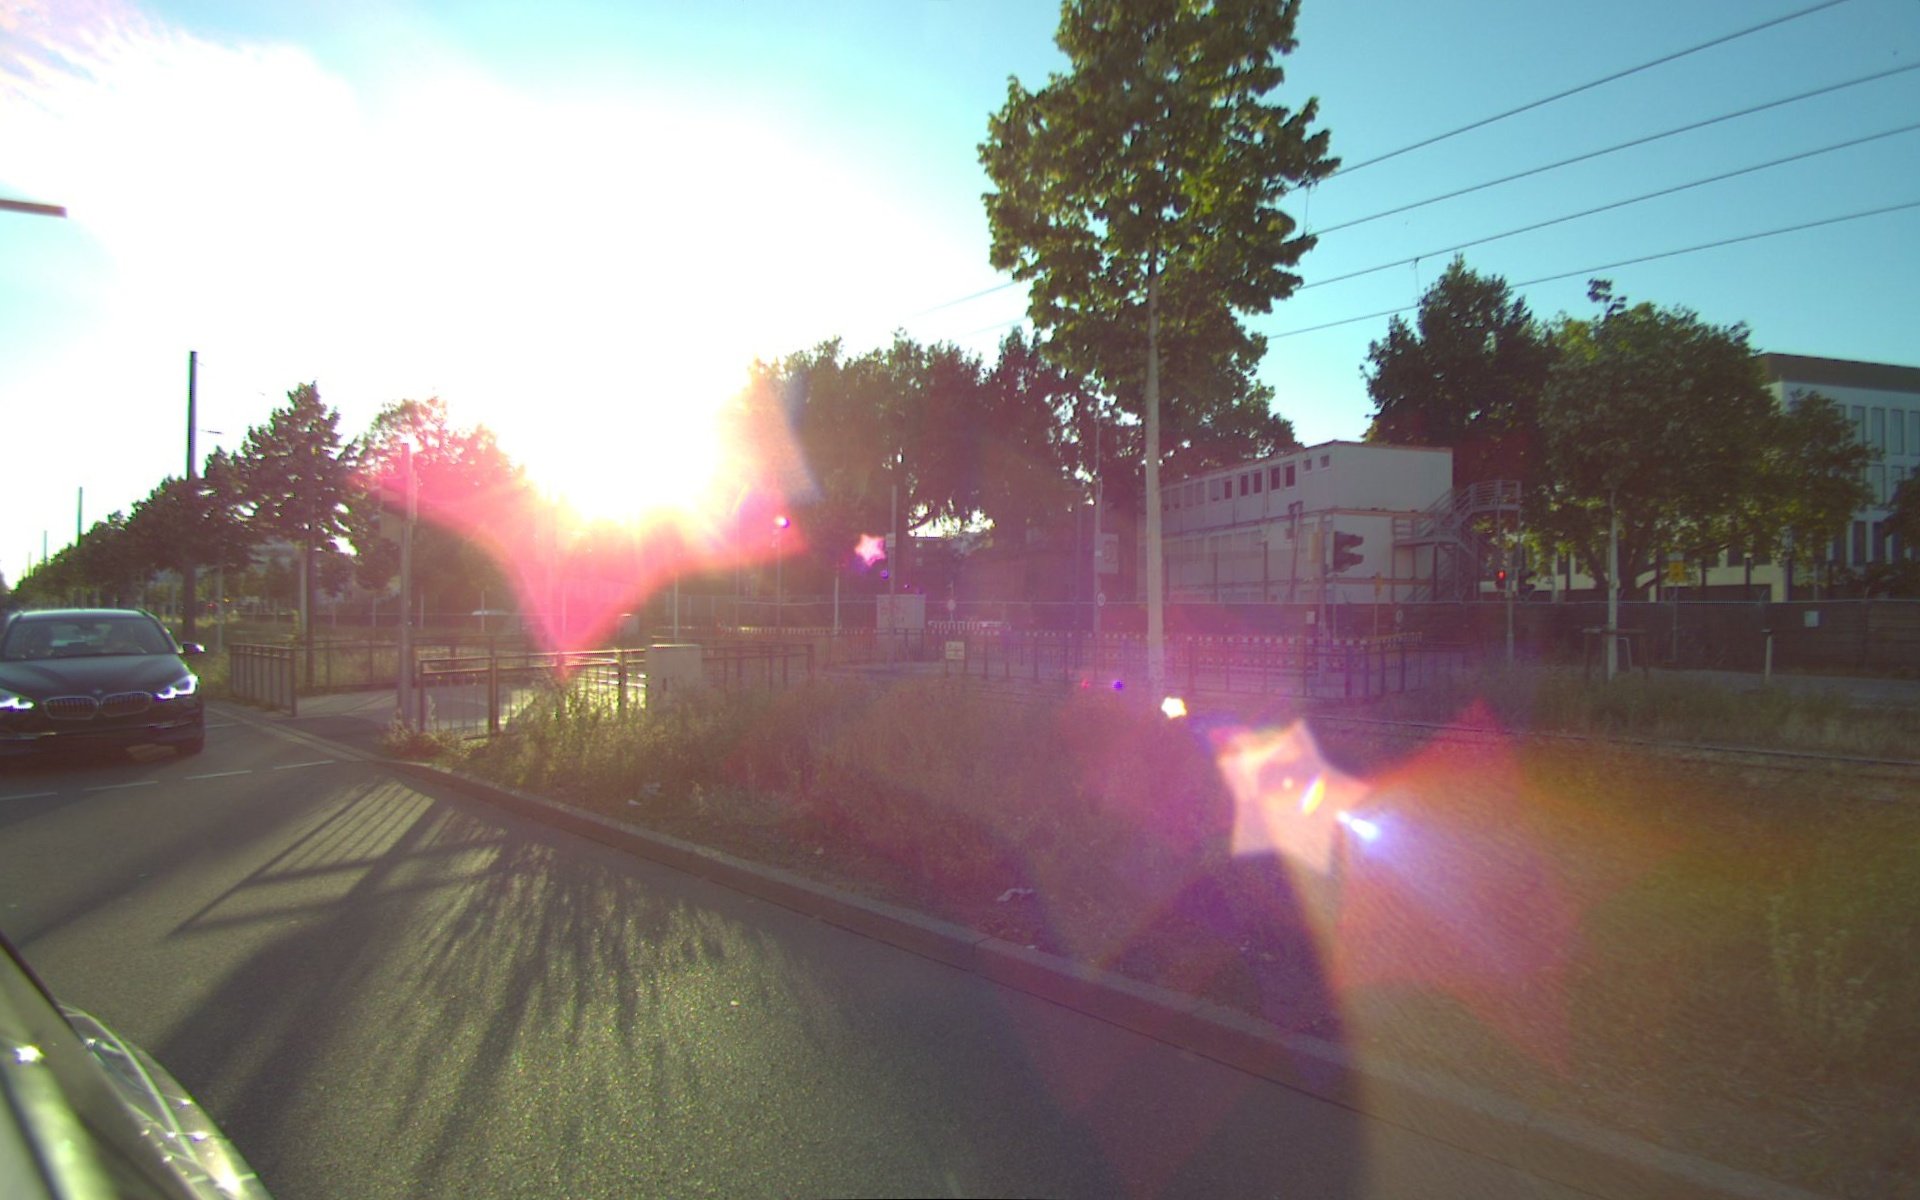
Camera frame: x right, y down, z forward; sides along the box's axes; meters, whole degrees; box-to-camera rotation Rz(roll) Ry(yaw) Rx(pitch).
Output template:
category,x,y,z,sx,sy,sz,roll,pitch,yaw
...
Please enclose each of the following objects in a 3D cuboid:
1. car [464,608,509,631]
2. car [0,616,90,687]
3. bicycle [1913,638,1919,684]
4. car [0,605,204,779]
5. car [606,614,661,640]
category,x,y,z,sx,sy,sz,roll,pitch,yaw
car,-35.421,1.439,75.664,3.802,1.572,1.823,-1,1,45
car,-21.819,1.163,23.772,1.807,1.475,4.306,-2,1,-44
bicycle,24.570,1.488,24.602,1.881,1.142,0.713,-2,0,16
car,-9.796,0.856,11.237,1.799,1.530,4.797,-1,0,-42
car,-19.190,1.561,59.396,1.671,1.380,3.699,-2,1,-42
